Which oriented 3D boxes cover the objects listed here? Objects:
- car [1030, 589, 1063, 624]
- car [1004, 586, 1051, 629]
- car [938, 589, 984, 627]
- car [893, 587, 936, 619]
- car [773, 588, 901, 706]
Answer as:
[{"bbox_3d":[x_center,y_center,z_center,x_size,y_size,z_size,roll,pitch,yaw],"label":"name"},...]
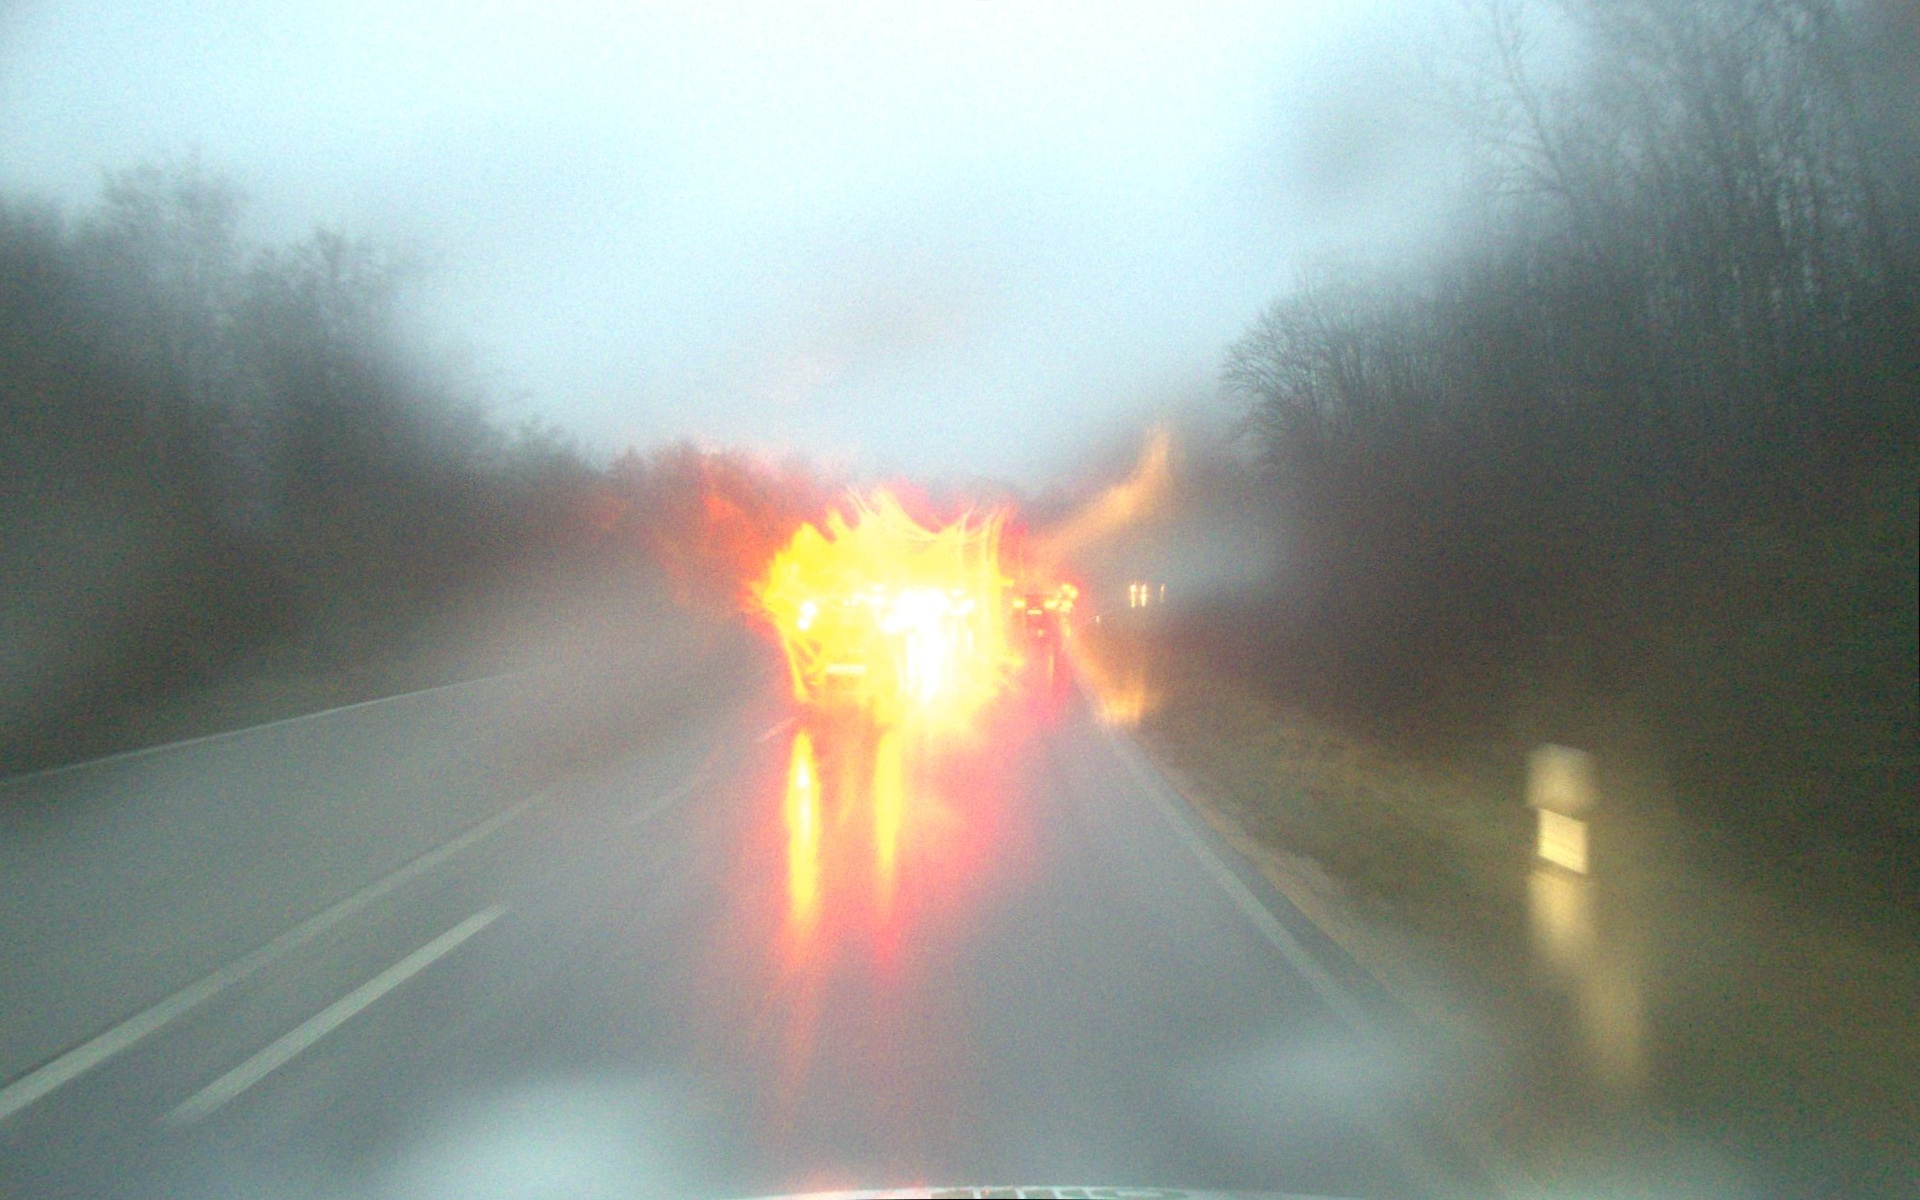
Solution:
[{"bbox_3d":[4.492,0.298,85.891,1.643,1.704,4.100,1,1,3],"label":"car"},{"bbox_3d":[2.411,0.246,59.926,1.644,1.414,4.099,1,1,2],"label":"car"},{"bbox_3d":[0.021,0.341,75.117,1.964,1.583,4.517,2,1,-1],"label":"car"},{"bbox_3d":[-2.492,0.181,91.687,1.952,1.677,4.724,2,0,4],"label":"car"},{"bbox_3d":[-1.687,0.595,23.642,1.599,1.445,4.169,3,1,-2],"label":"car"}]
